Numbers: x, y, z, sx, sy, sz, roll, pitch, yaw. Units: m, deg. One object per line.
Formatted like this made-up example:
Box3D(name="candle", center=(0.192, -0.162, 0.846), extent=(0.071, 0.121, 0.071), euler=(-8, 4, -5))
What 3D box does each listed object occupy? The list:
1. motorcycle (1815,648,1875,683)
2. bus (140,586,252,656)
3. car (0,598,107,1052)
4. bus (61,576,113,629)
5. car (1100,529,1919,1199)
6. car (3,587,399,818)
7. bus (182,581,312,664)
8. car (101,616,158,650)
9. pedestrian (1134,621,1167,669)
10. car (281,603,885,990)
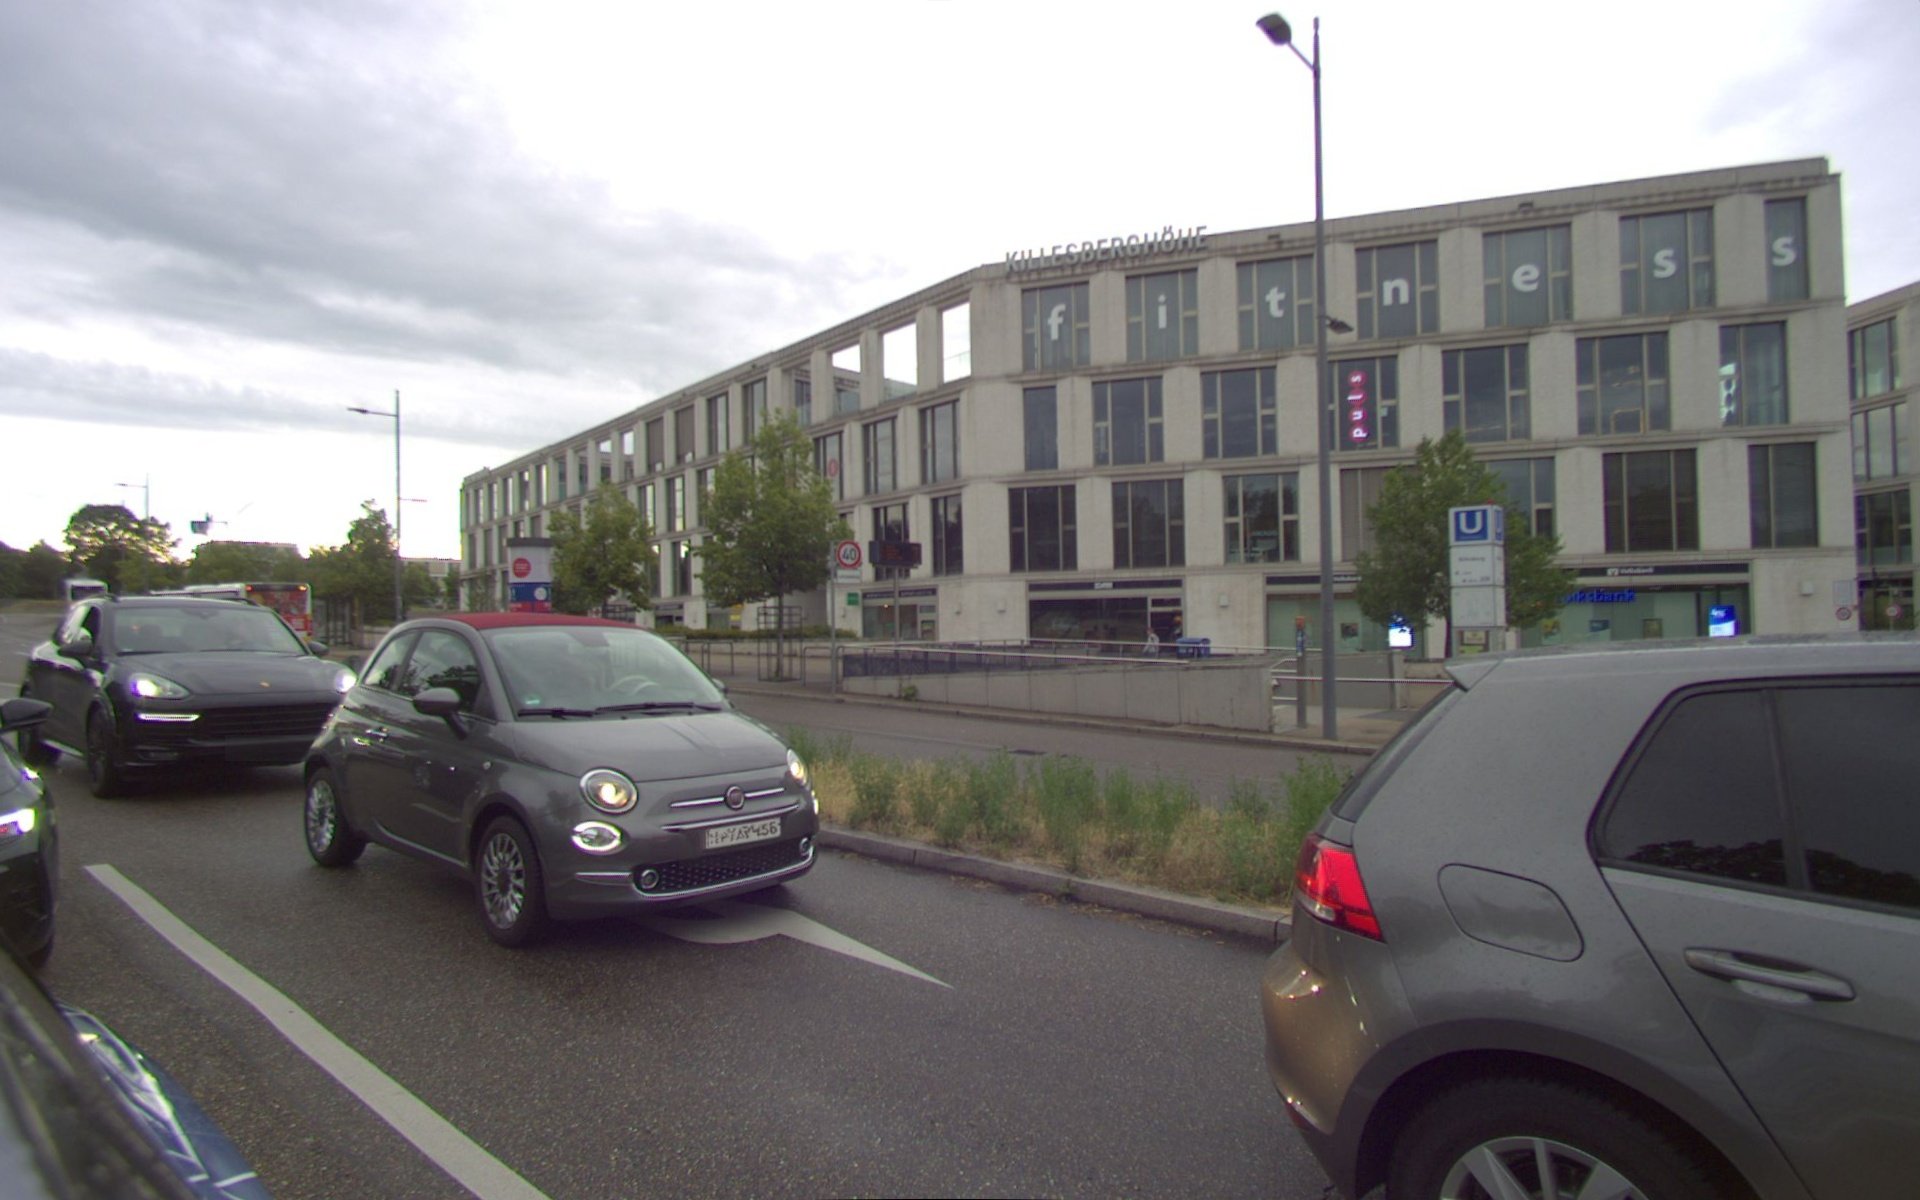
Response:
Box3D(name="motorcycle", center=(20.401, 1.498, 23.343), extent=(0.517, 0.746, 1.098), euler=(-1, 0, 9))
Box3D(name="bus", center=(-38.159, 0.987, 50.388), extent=(9.911, 3.205, 2.658), euler=(-1, 0, 42))
Box3D(name="car", center=(-5.354, 0.762, 4.360), extent=(4.766, 1.476, 1.877), euler=(-1, 0, 41))
Box3D(name="bus", center=(-76.396, 0.265, 88.813), extent=(2.717, 4.185, 19.383), euler=(-1, 0, -39))
Box3D(name="car", center=(2.534, 0.650, 1.461), extent=(4.374, 1.492, 1.797), euler=(-1, -2, 41))
Box3D(name="car", center=(-7.303, 0.787, 9.559), extent=(4.612, 1.671, 1.910), euler=(-1, -1, 39))
Box3D(name="bus", center=(-31.132, 0.918, 43.981), extent=(9.206, 3.236, 2.723), euler=(-1, 0, 43))
Box3D(name="car", center=(-46.981, 1.830, 57.226), extent=(3.998, 1.800, 1.843), euler=(-1, 0, 41))
Box3D(name="pedestrian", center=(6.497, 1.514, 34.546), extent=(0.911, 1.617, 0.757), euler=(-1, -1, 29))
Box3D(name="car", center=(-2.245, 0.795, 5.661), extent=(3.502, 1.492, 1.611), euler=(-1, -2, 39))
